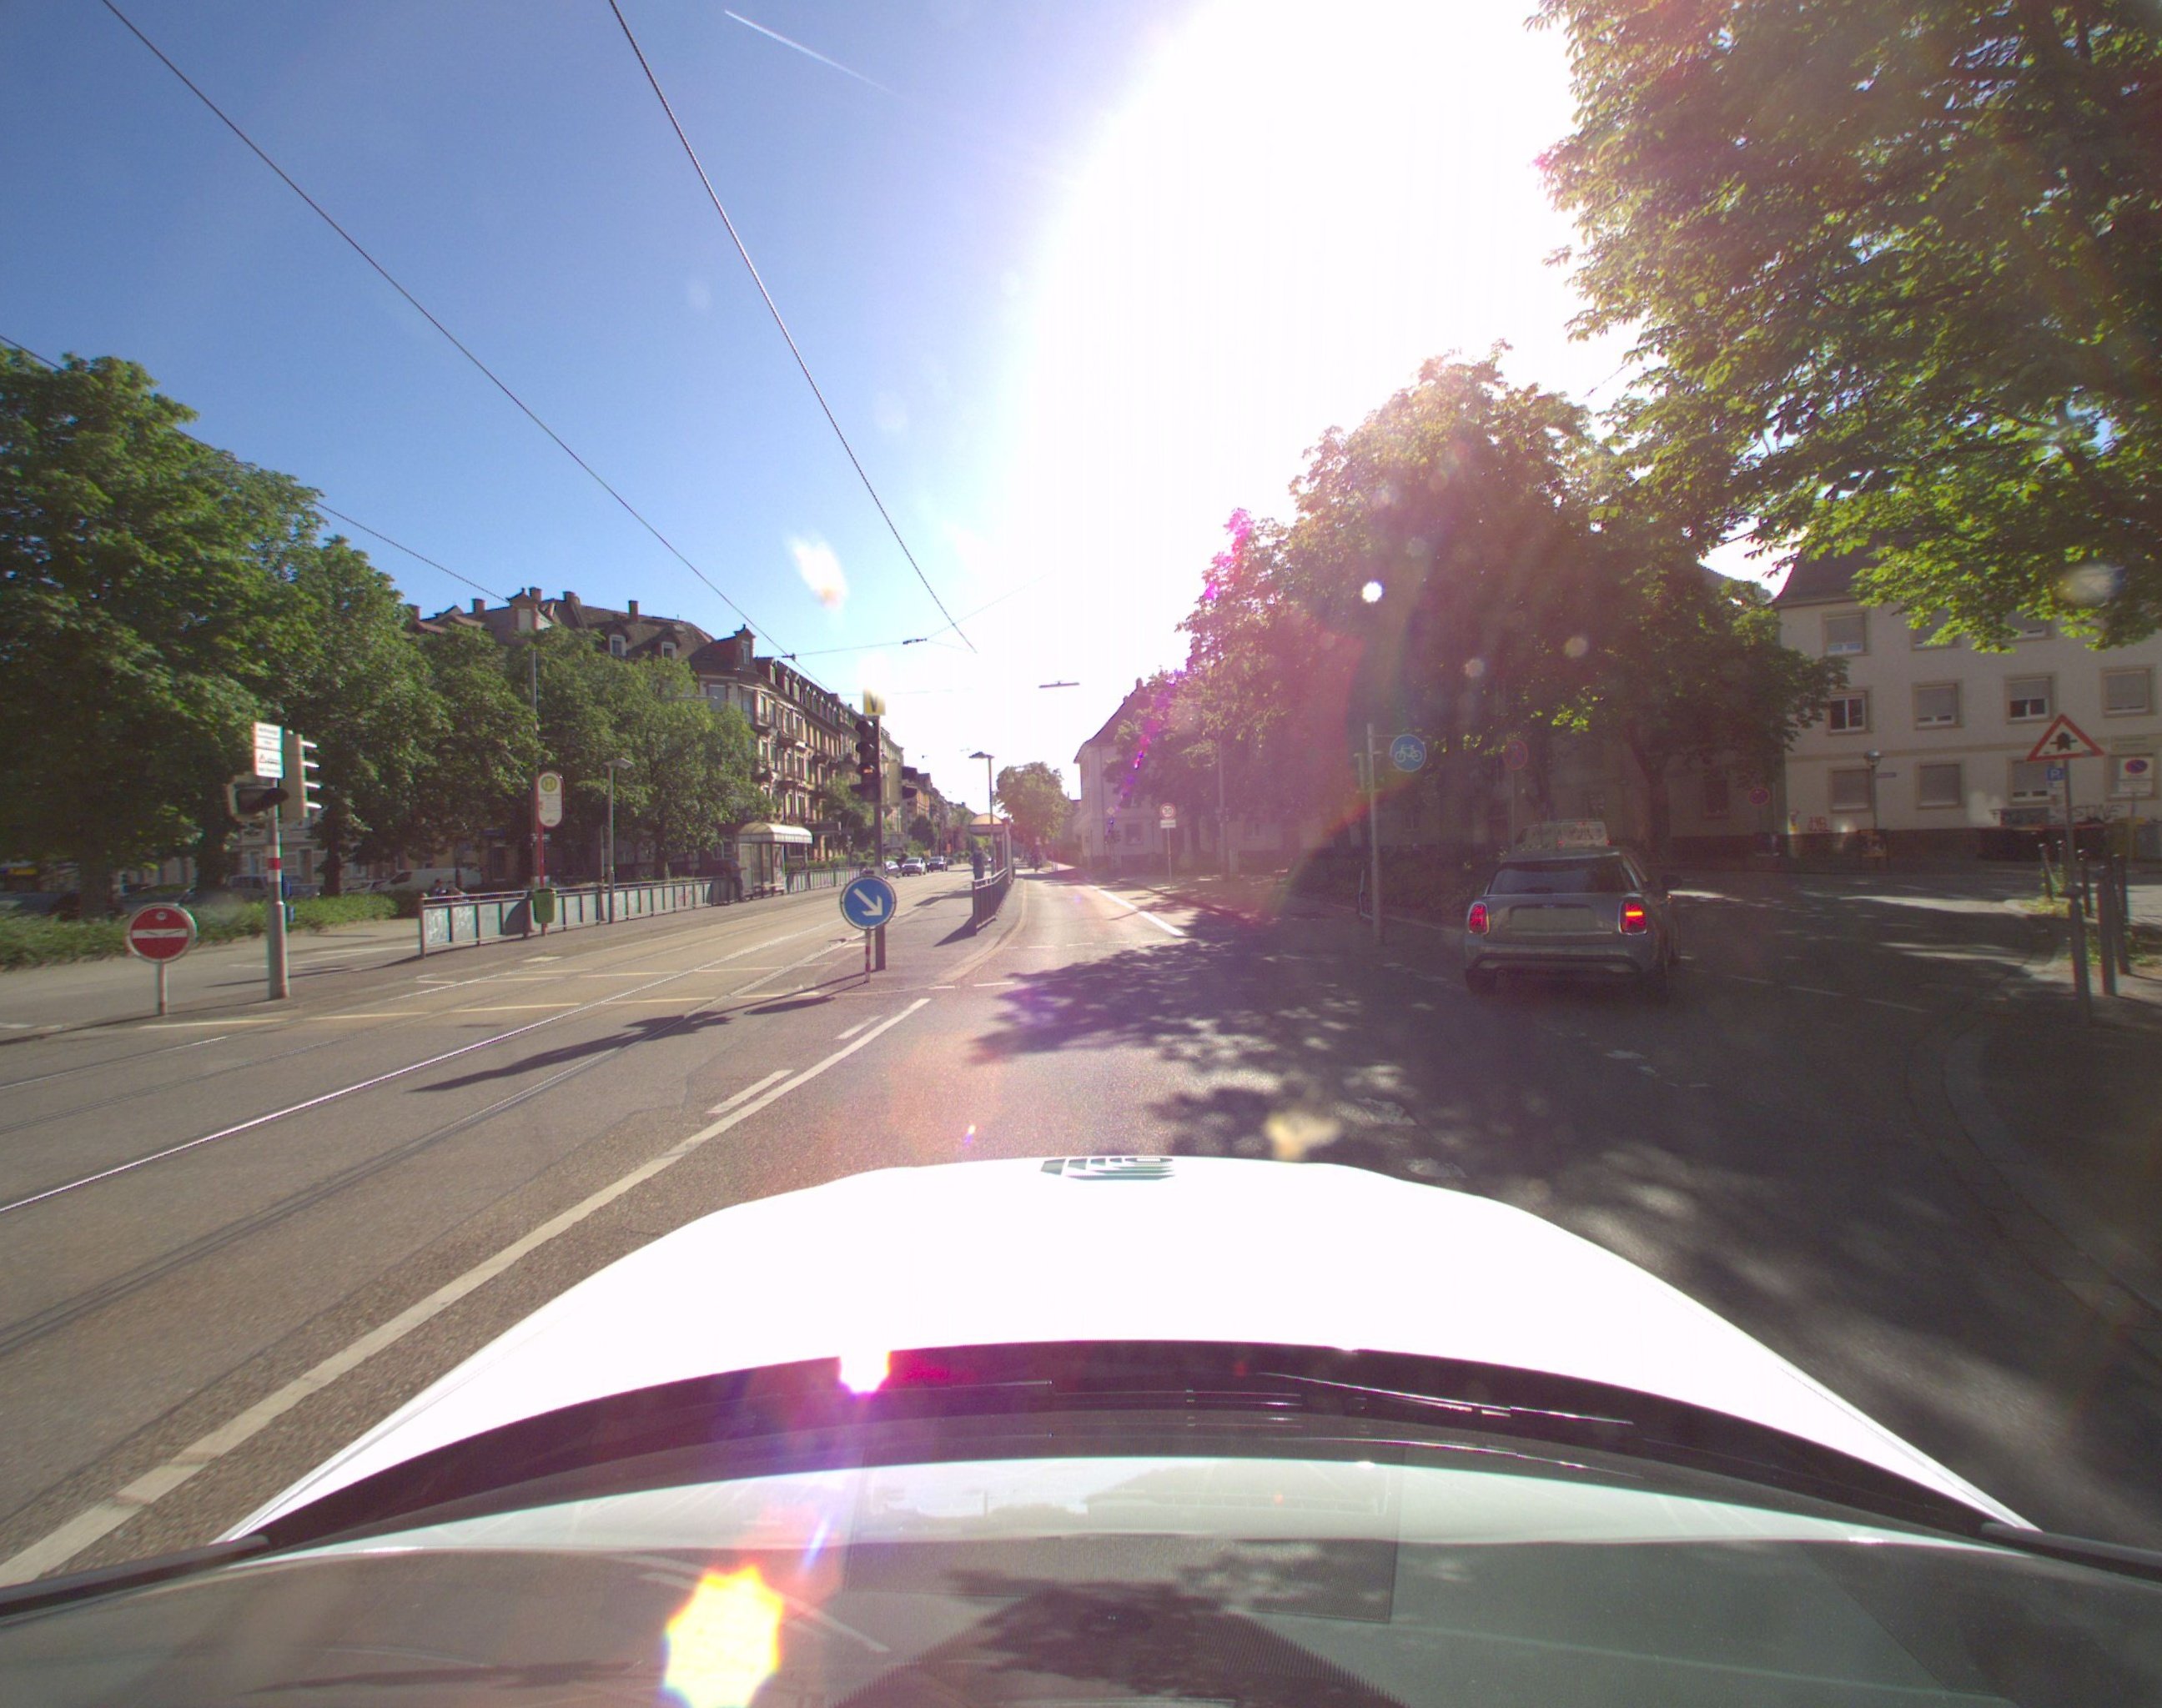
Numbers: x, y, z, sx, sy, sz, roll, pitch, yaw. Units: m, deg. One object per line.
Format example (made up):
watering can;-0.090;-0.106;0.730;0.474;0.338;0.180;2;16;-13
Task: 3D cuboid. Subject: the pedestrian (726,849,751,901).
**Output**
pedestrian;-12.025;0.725;28.591;0.605;1.795;0.578;-2;0;-6

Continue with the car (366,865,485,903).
car;-36.243;1.638;45.118;4.995;2.014;2.000;-1;-1;1

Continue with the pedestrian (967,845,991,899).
pedestrian;-3.872;0.688;30.973;0.794;2.014;0.739;-1;-1;-4

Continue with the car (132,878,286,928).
car;-31.312;1.703;29.426;1.749;1.431;3.984;-2;1;-12

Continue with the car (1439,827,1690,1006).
car;5.437;0.533;8.902;1.798;1.488;4.025;-2;-1;38

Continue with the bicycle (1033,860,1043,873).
bicycle;-3.793;1.101;71.621;0.840;1.156;2.535;-1;-1;-4

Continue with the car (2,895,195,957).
car;-29.791;2.118;24.914;1.752;1.431;3.978;-2;1;-16

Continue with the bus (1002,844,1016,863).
bus;-13.450;-0.061;151.934;2.382;3.496;7.368;-1;-1;-6

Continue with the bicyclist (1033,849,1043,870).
bicyclist;-3.808;0.498;71.627;0.816;1.811;1.057;-1;-1;-4

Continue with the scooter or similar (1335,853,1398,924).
scooter or similar;5.524;0.641;15.822;0.674;1.310;1.327;-1;-1;-3

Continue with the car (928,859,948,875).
car;-15.354;1.382;87.529;1.773;1.618;3.992;-1;-1;-5

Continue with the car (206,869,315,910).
car;-42.491;1.855;42.183;4.539;2.014;2.009;-1;-1;16

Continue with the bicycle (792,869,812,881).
bicycle;-19.528;1.470;57.054;0.716;0.750;1.916;-1;-1;0

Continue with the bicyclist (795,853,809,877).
bicyclist;-19.539;0.800;57.038;0.711;1.665;0.734;-1;-1;0

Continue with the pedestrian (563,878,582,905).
pedestrian;-23.454;1.724;37.575;0.608;1.201;0.575;-3;0;-21

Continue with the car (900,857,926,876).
car;-15.082;1.127;73.315;1.773;1.618;3.992;-1;-1;-5

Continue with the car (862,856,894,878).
car;-15.803;0.990;63.587;1.773;1.618;3.992;-1;-1;-5

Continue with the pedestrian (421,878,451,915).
pedestrian;-21.929;1.433;27.712;0.608;1.201;0.575;-3;0;-21

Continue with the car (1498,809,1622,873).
car;18.093;-0.424;31.088;2.108;2.208;4.951;-1;-1;5
